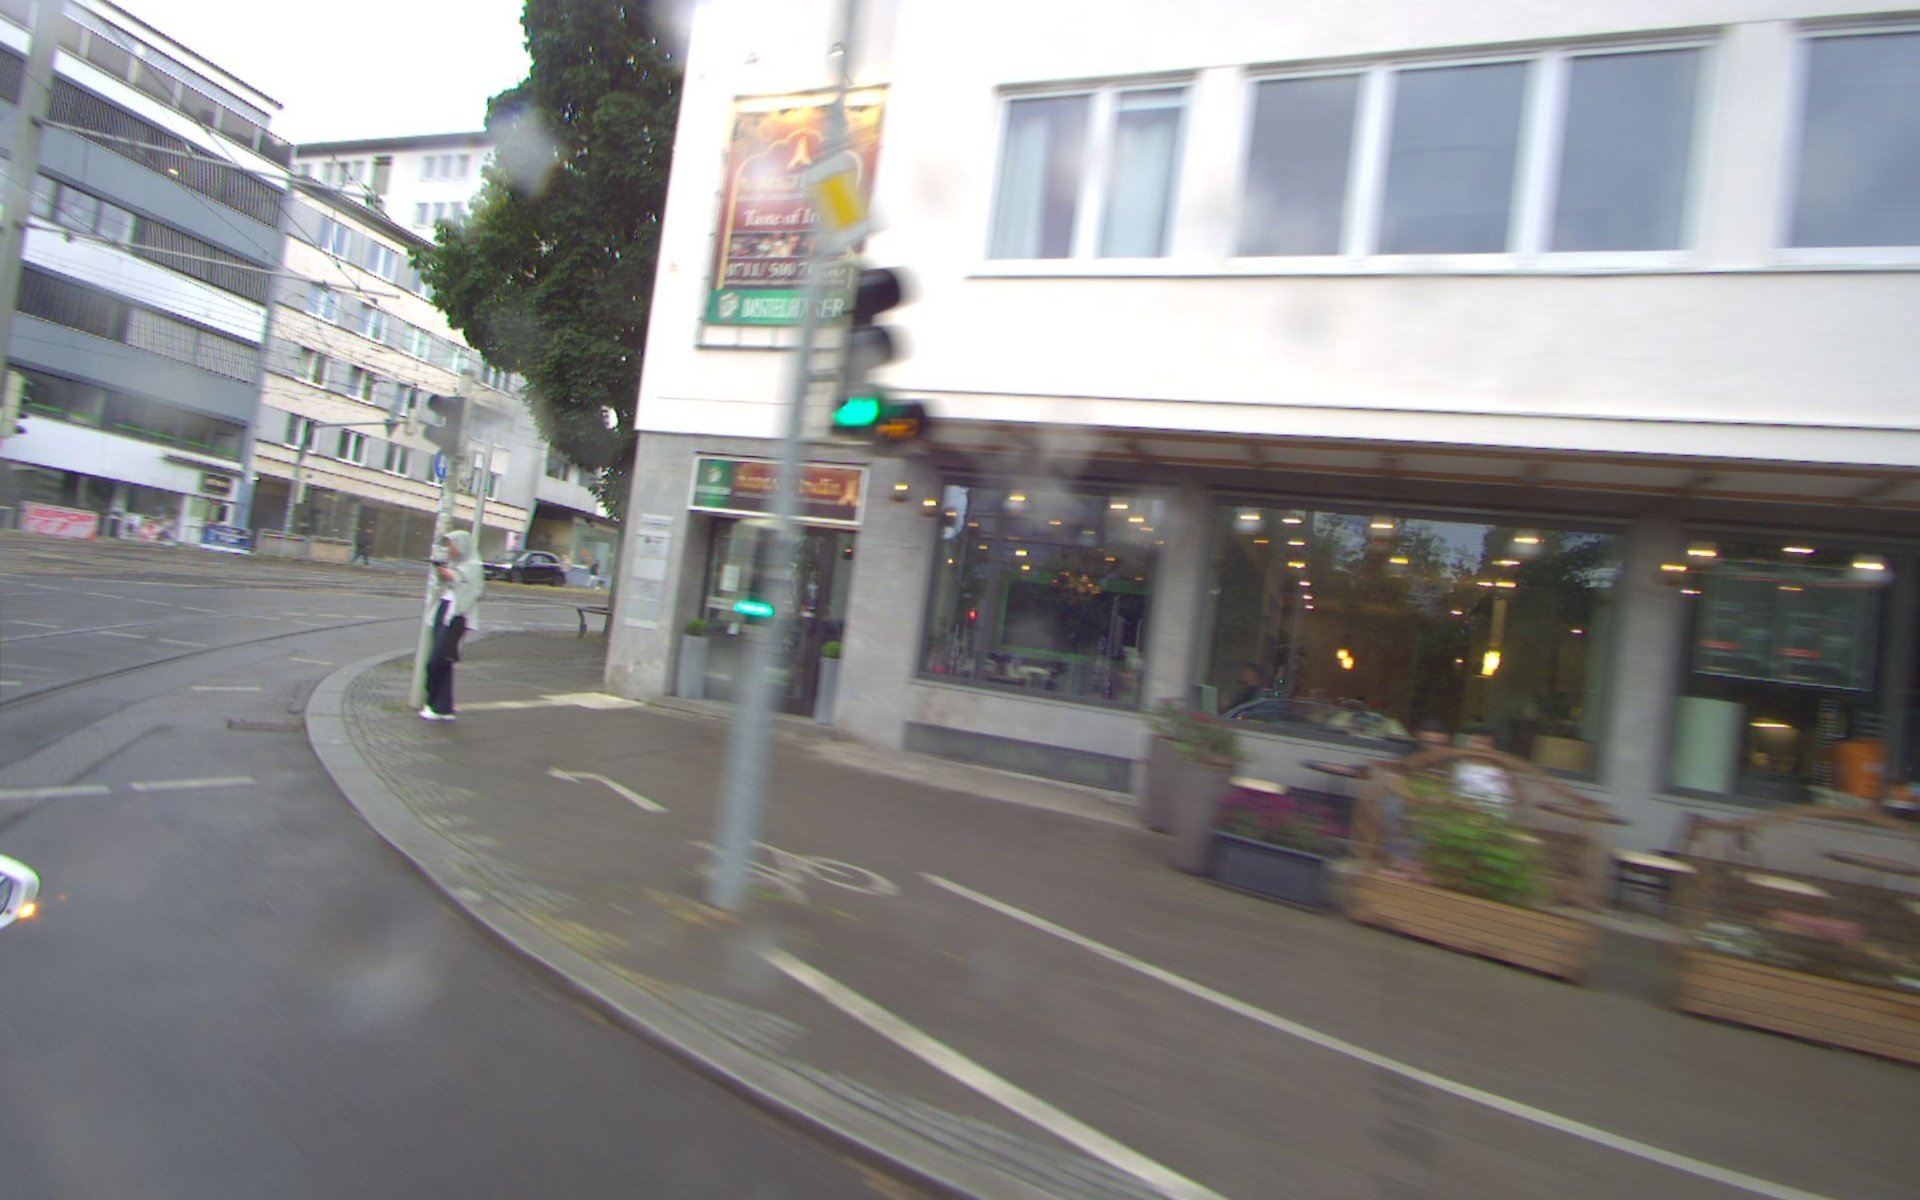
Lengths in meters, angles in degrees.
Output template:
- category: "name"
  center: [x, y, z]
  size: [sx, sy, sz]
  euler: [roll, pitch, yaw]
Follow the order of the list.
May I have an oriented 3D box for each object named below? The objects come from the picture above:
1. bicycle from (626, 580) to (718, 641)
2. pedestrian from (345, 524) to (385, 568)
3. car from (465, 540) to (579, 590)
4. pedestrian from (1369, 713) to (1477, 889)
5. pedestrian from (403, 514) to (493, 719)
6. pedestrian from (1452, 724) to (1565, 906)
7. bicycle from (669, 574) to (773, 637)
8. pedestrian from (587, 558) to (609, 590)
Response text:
- category: "bicycle"
  center: [-6.158, 0.219, 21.514]
  size: [1.789, 1.106, 0.649]
  euler: [6, 1, 22]
- category: "pedestrian"
  center: [-25.518, -2.305, 43.152]
  size: [0.873, 1.702, 0.999]
  euler: [6, 0, 16]
- category: "car"
  center: [-19.220, -1.513, 44.358]
  size: [1.962, 1.694, 4.527]
  euler: [6, 0, 19]
- category: "pedestrian"
  center: [3.716, 1.576, 8.140]
  size: [0.624, 1.206, 0.932]
  euler: [7, 0, 22]
- category: "pedestrian"
  center: [-4.610, 0.139, 9.045]
  size: [0.523, 1.733, 0.700]
  euler: [7, 0, -30]
- category: "pedestrian"
  center: [4.287, 1.645, 7.918]
  size: [0.558, 1.206, 0.918]
  euler: [7, 0, 22]
- category: "bicycle"
  center: [-5.575, 0.115, 23.414]
  size: [2.281, 1.188, 0.649]
  euler: [6, -1, 22]
- category: "pedestrian"
  center: [-20.552, -1.469, 57.113]
  size: [0.587, 1.760, 0.910]
  euler: [6, 0, 17]
